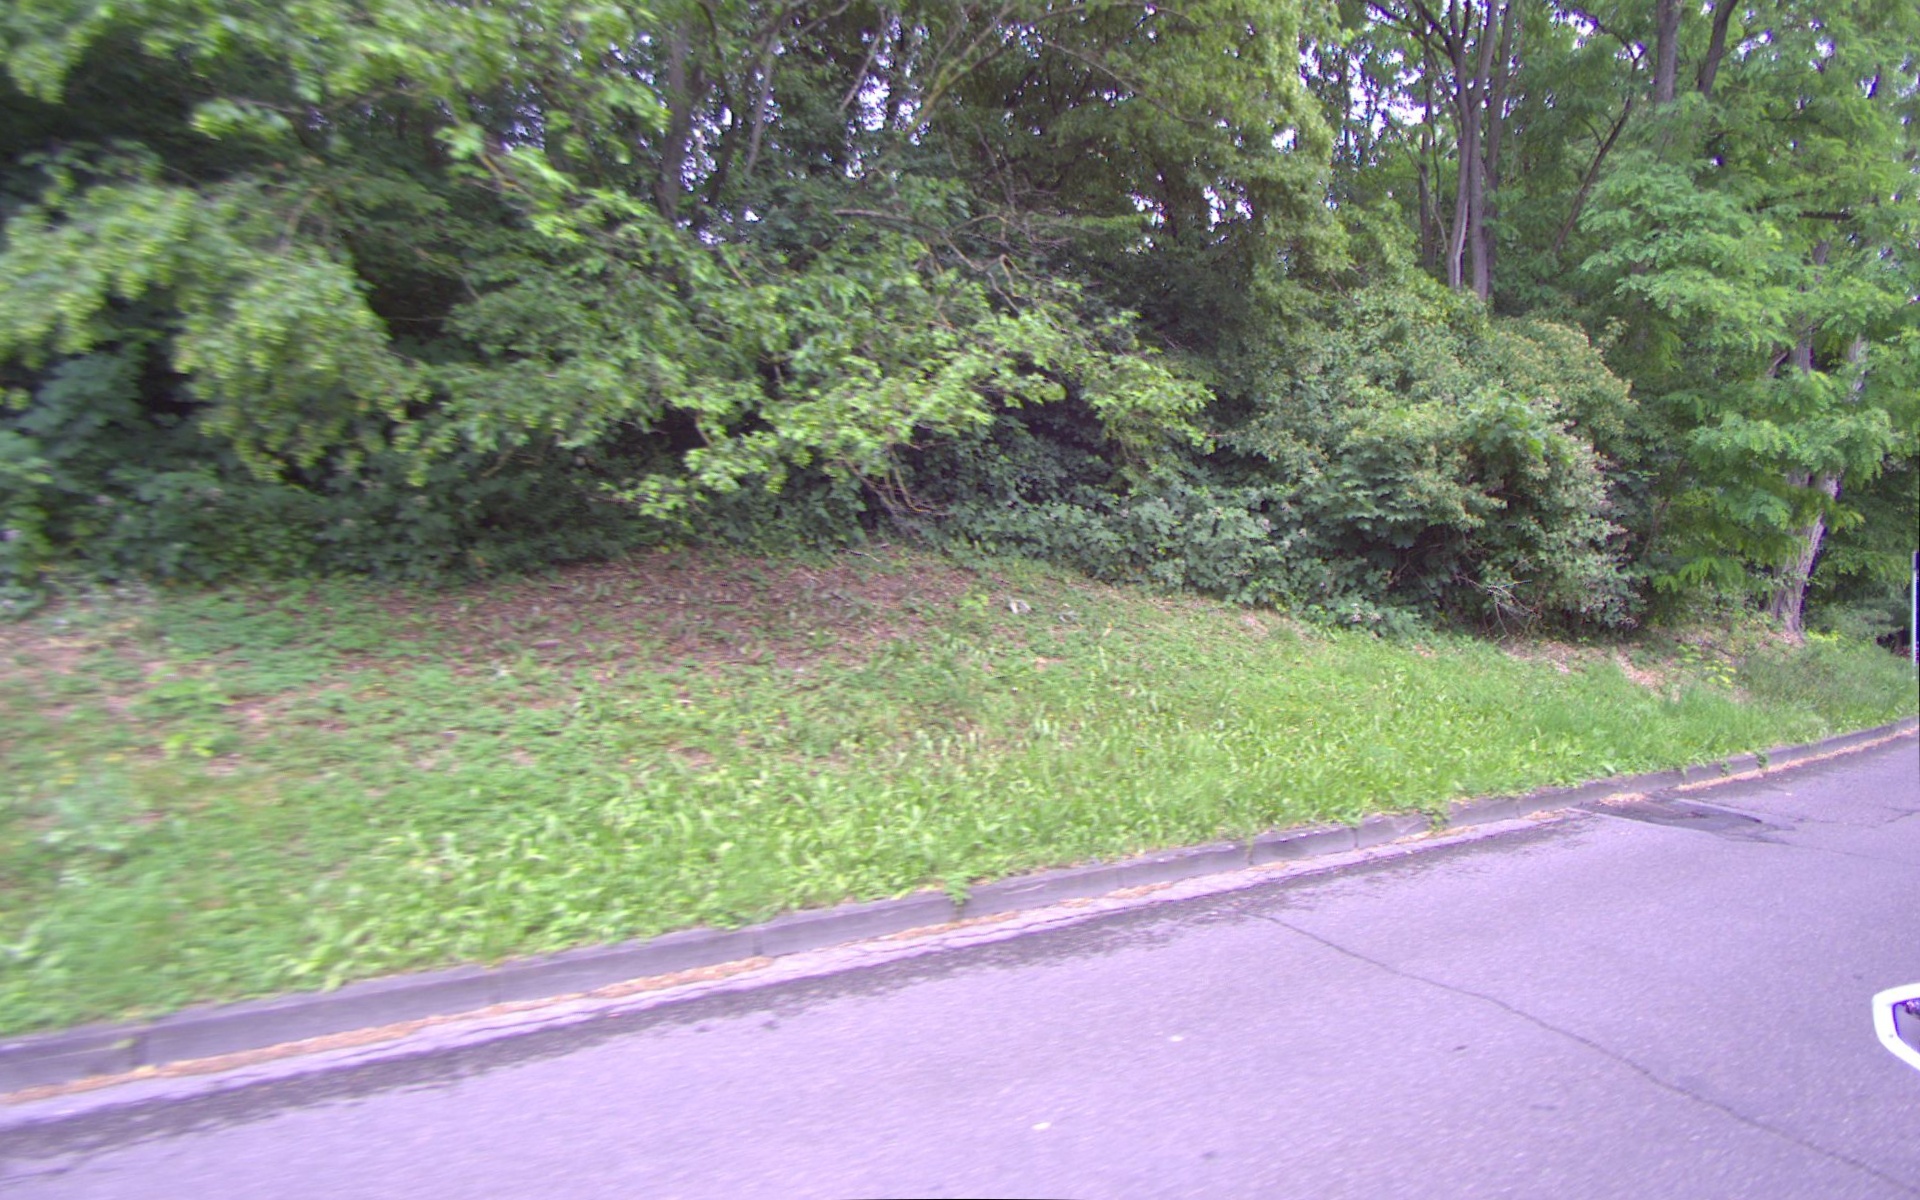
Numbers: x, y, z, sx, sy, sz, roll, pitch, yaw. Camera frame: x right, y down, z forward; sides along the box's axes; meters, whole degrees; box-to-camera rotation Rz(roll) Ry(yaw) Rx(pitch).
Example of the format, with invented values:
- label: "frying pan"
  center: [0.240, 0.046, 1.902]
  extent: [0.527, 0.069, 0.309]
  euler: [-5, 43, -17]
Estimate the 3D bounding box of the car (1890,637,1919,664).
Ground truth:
- label: "car"
  center: [58.730, 3.090, 61.283]
  extent: [1.711, 1.583, 3.998]
  euler: [1, -2, 24]
